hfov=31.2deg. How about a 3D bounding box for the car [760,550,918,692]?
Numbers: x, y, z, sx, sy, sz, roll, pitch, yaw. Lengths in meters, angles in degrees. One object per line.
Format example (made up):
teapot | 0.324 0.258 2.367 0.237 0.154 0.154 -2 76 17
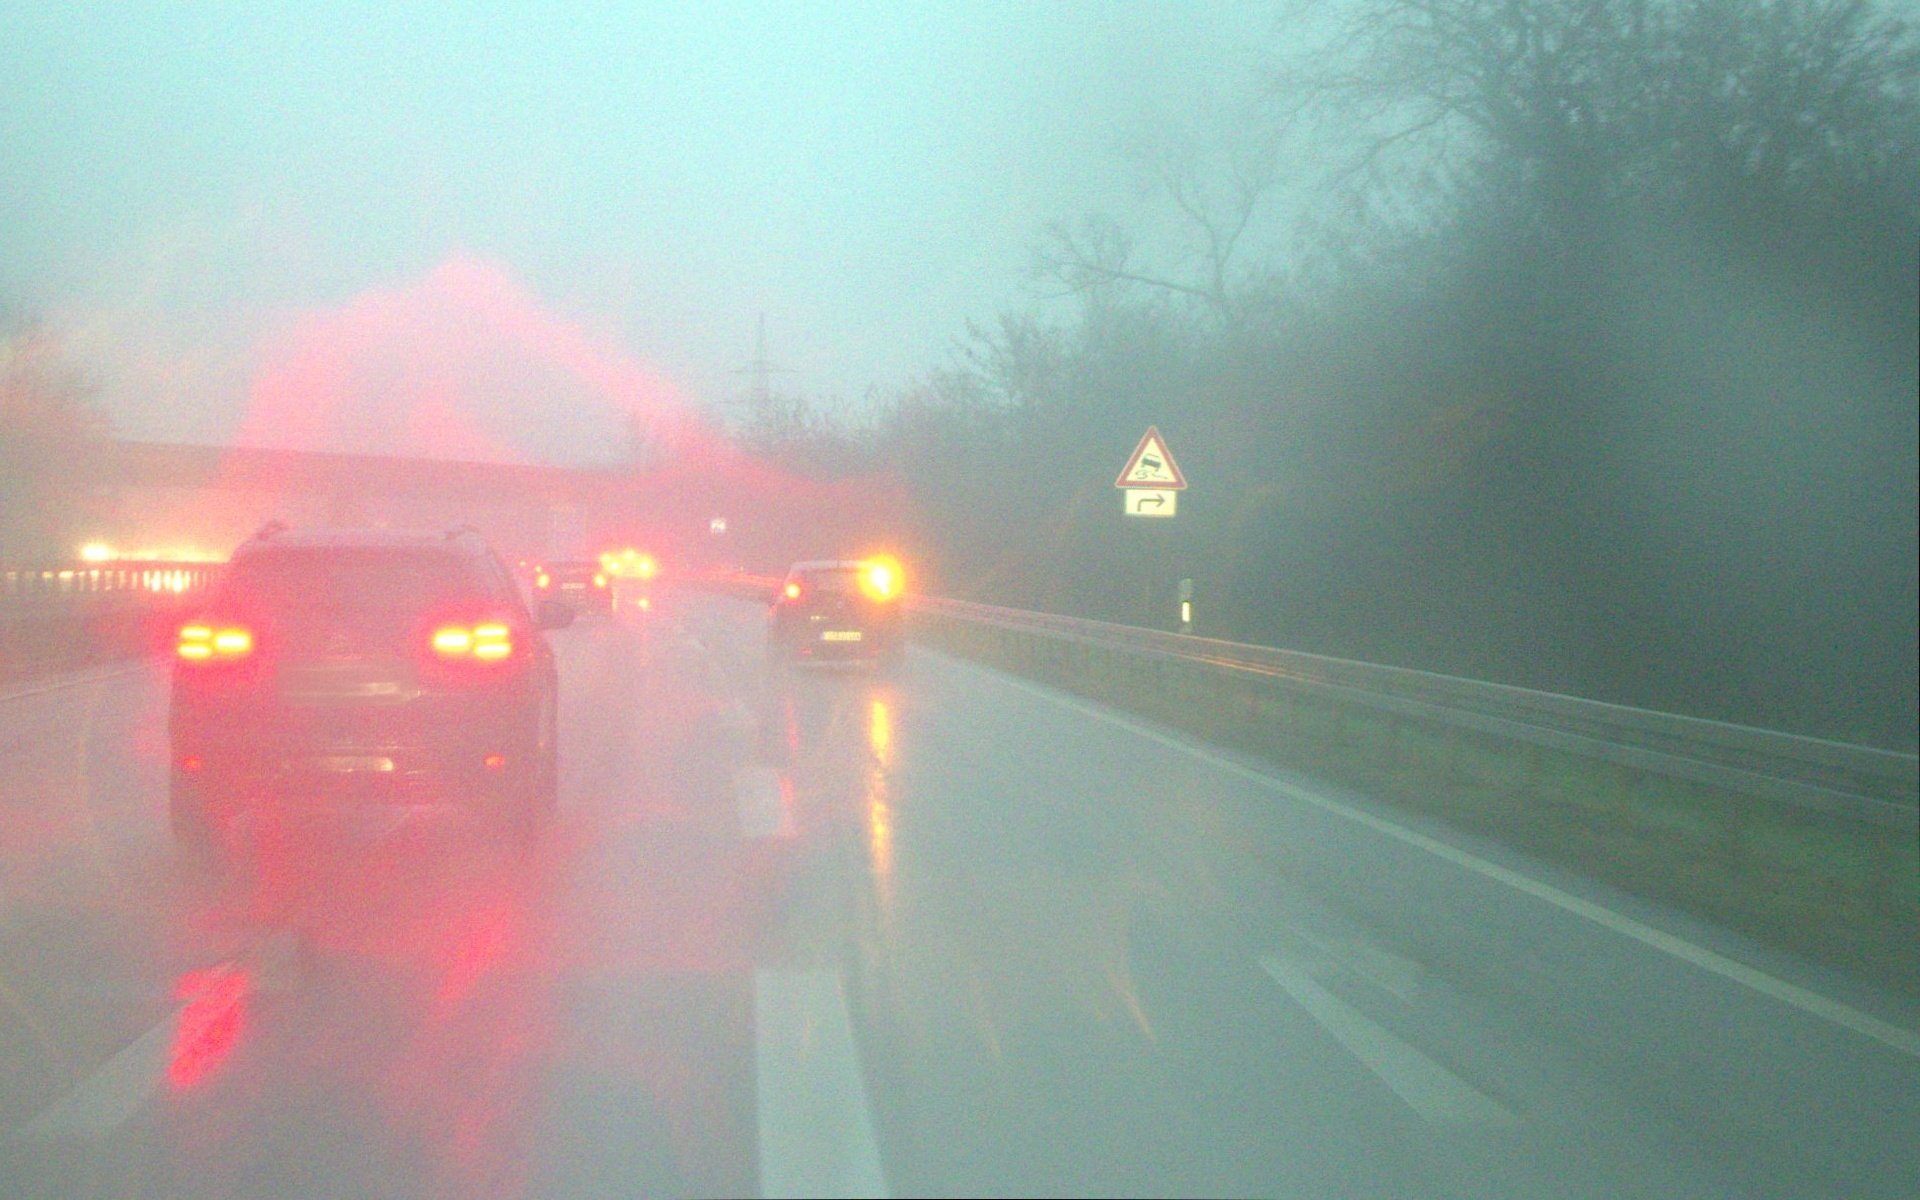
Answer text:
car | -1.647 0.245 45.818 1.731 1.424 3.768 -1 6 -7

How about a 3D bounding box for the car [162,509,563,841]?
car | -3.235 0.345 19.285 1.993 1.659 4.001 0 1 -7

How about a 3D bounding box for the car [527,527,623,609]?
car | -8.476 -0.731 75.416 1.878 1.612 3.876 2 2 -9
